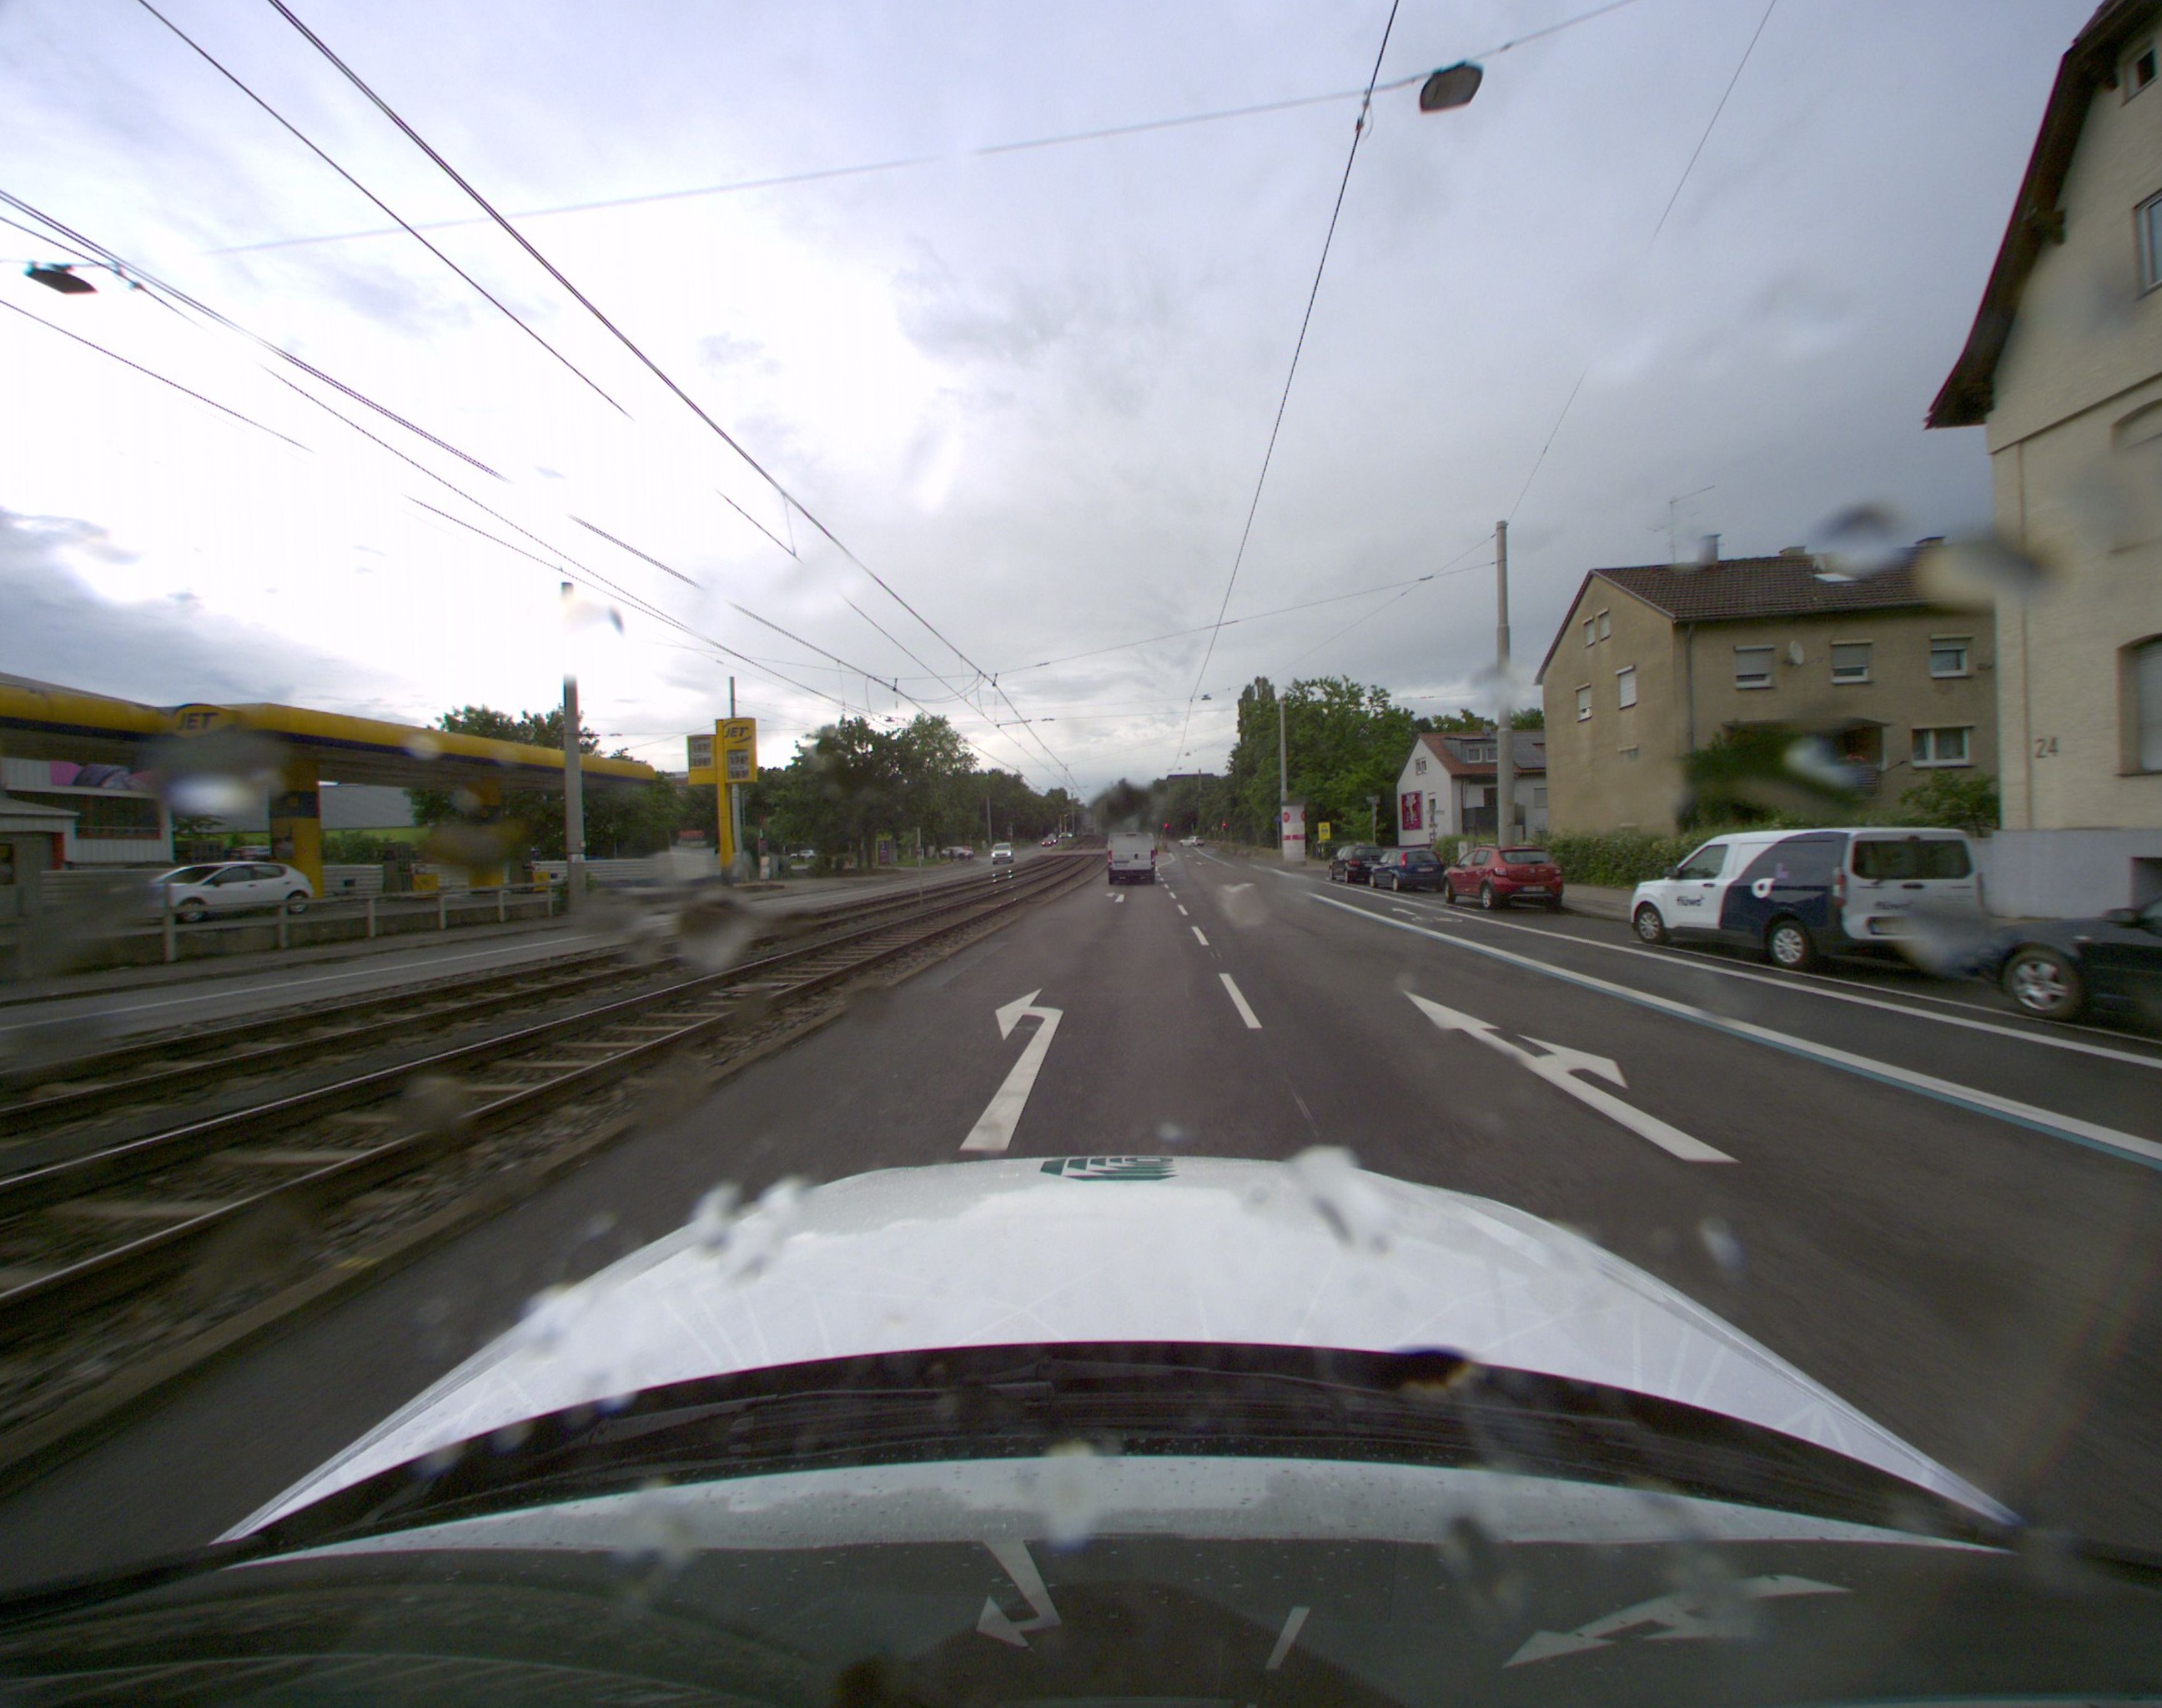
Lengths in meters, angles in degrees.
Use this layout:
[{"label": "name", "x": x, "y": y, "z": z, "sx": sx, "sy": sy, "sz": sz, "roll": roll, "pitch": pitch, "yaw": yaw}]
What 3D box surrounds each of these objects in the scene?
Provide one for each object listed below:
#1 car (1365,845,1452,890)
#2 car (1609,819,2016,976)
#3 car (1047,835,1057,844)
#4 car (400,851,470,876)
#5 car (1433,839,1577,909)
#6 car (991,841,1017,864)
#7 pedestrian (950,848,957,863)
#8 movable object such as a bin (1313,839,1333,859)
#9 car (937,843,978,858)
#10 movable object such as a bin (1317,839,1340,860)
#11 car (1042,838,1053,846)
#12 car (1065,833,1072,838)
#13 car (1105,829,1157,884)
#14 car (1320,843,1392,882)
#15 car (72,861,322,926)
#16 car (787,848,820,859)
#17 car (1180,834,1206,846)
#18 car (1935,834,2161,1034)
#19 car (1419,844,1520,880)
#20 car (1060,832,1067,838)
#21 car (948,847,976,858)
[{"label": "car", "x": 11.402, "y": 0.426, "z": 28.605, "sx": 1.660, "sy": 1.443, "sz": 3.932, "roll": 0, "pitch": 0, "yaw": 3}, {"label": "car", "x": 9.717, "y": 0.476, "z": 11.456, "sx": 1.840, "sy": 1.756, "sz": 4.525, "roll": 0, "pitch": 0, "yaw": 3}, {"label": "car", "x": -5.459, "y": -2.662, "z": 154.269, "sx": 1.595, "sy": 1.402, "sz": 3.792, "roll": -3, "pitch": -2, "yaw": 1}, {"label": "car", "x": -43.067, "y": 0.638, "z": 54.390, "sx": 1.683, "sy": 1.618, "sz": 3.993, "roll": 0, "pitch": -1, "yaw": -5}, {"label": "car", "x": 10.810, "y": 0.456, "z": 21.117, "sx": 1.828, "sy": 1.628, "sz": 4.104, "roll": 0, "pitch": 0, "yaw": 4}, {"label": "car", "x": -7.517, "y": -0.150, "z": 80.193, "sx": 1.987, "sy": 2.013, "sz": 5.059, "roll": -4, "pitch": 1, "yaw": 0}, {"label": "pedestrian", "x": -13.027, "y": 0.127, "z": 83.289, "sx": 0.588, "sy": 1.532, "sz": 0.669, "roll": 0, "pitch": -1, "yaw": 2}, {"label": "movable object such as a bin", "x": 17.616, "y": -0.365, "z": 59.267, "sx": 1.180, "sy": 1.418, "sz": 1.135, "roll": 0, "pitch": -1, "yaw": 1}, {"label": "car", "x": -15.834, "y": -0.422, "z": 104.151, "sx": 4.701, "sy": 1.649, "sz": 2.012, "roll": -3, "pitch": 1, "yaw": 24}, {"label": "movable object such as a bin", "x": 17.549, "y": -0.300, "z": 57.765, "sx": 1.306, "sy": 1.418, "sz": 1.300, "roll": 0, "pitch": -1, "yaw": 1}, {"label": "car", "x": -5.844, "y": -2.119, "z": 141.697, "sx": 1.595, "sy": 1.401, "sz": 3.794, "roll": 0, "pitch": 2, "yaw": 1}, {"label": "car", "x": -3.481, "y": -5.254, "z": 227.290, "sx": 1.595, "sy": 1.401, "sz": 3.794, "roll": 0, "pitch": 2, "yaw": 1}, {"label": "car", "x": 2.227, "y": 0.064, "z": 36.896, "sx": 2.137, "sy": 2.283, "sz": 5.067, "roll": -1, "pitch": 1, "yaw": 3}, {"label": "car", "x": 11.669, "y": 0.312, "z": 34.841, "sx": 1.829, "sy": 1.533, "sz": 4.444, "roll": 0, "pitch": 1, "yaw": 4}, {"label": "car", "x": -21.867, "y": 0.912, "z": 20.440, "sx": 1.764, "sy": 1.415, "sz": 4.077, "roll": 0, "pitch": 0, "yaw": 1}, {"label": "car", "x": -39.776, "y": -0.014, "z": 116.965, "sx": 4.187, "sy": 1.533, "sz": 1.837, "roll": -1, "pitch": 0, "yaw": -9}, {"label": "car", "x": 15.920, "y": -2.023, "z": 116.047, "sx": 1.715, "sy": 1.521, "sz": 3.752, "roll": -2, "pitch": 3, "yaw": -34}, {"label": "car", "x": 8.999, "y": 0.600, "z": 5.842, "sx": 1.678, "sy": 1.511, "sz": 4.144, "roll": 0, "pitch": 0, "yaw": 6}, {"label": "car", "x": 19.432, "y": 0.396, "z": 40.881, "sx": 4.250, "sy": 1.655, "sz": 1.883, "roll": 1, "pitch": -1, "yaw": 7}, {"label": "car", "x": -4.416, "y": -4.774, "z": 206.576, "sx": 1.595, "sy": 1.401, "sz": 3.794, "roll": 0, "pitch": 2, "yaw": 1}, {"label": "car", "x": -16.848, "y": -0.197, "z": 115.481, "sx": 3.961, "sy": 1.533, "sz": 1.838, "roll": -1, "pitch": 0, "yaw": -7}]
